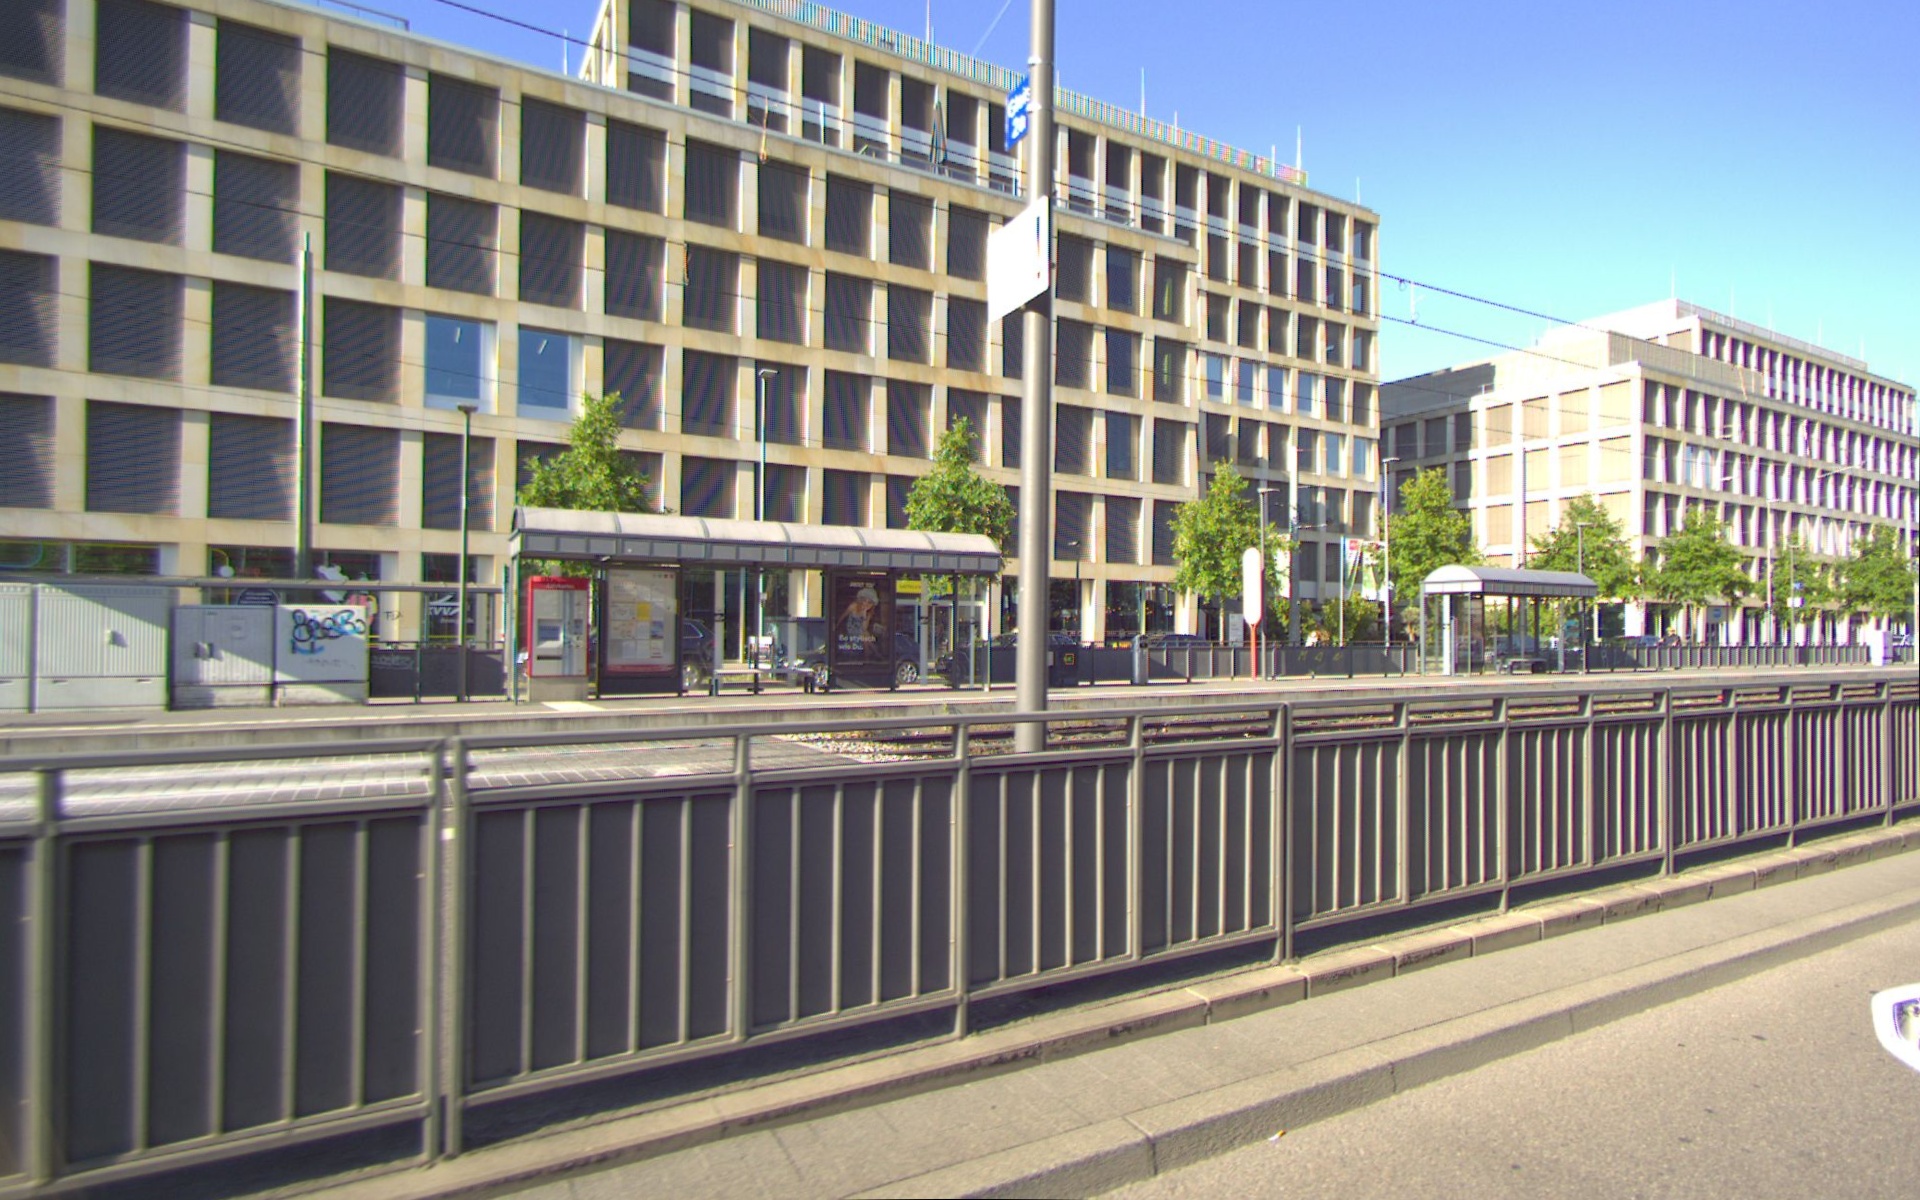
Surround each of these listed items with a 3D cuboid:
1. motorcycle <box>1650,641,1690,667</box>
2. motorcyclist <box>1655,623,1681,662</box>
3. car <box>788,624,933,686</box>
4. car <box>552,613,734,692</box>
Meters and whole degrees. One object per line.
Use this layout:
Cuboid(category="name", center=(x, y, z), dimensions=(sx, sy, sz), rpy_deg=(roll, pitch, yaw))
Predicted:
Cuboid(category="motorcycle", center=(28.737, 2.180, 40.637), dimensions=(1.819, 1.035, 0.602), rpy_deg=(1, -2, -29))
Cuboid(category="motorcyclist", center=(28.611, 1.696, 40.588), dimensions=(0.755, 1.553, 0.573), rpy_deg=(1, -2, -29))
Cuboid(category="car", center=(-2.691, 1.461, 27.368), dimensions=(3.606, 1.582, 1.638), rpy_deg=(1, -2, -29))
Cuboid(category="car", center=(-7.749, 1.246, 24.616), dimensions=(3.952, 1.793, 1.910), rpy_deg=(1, -2, -29))
